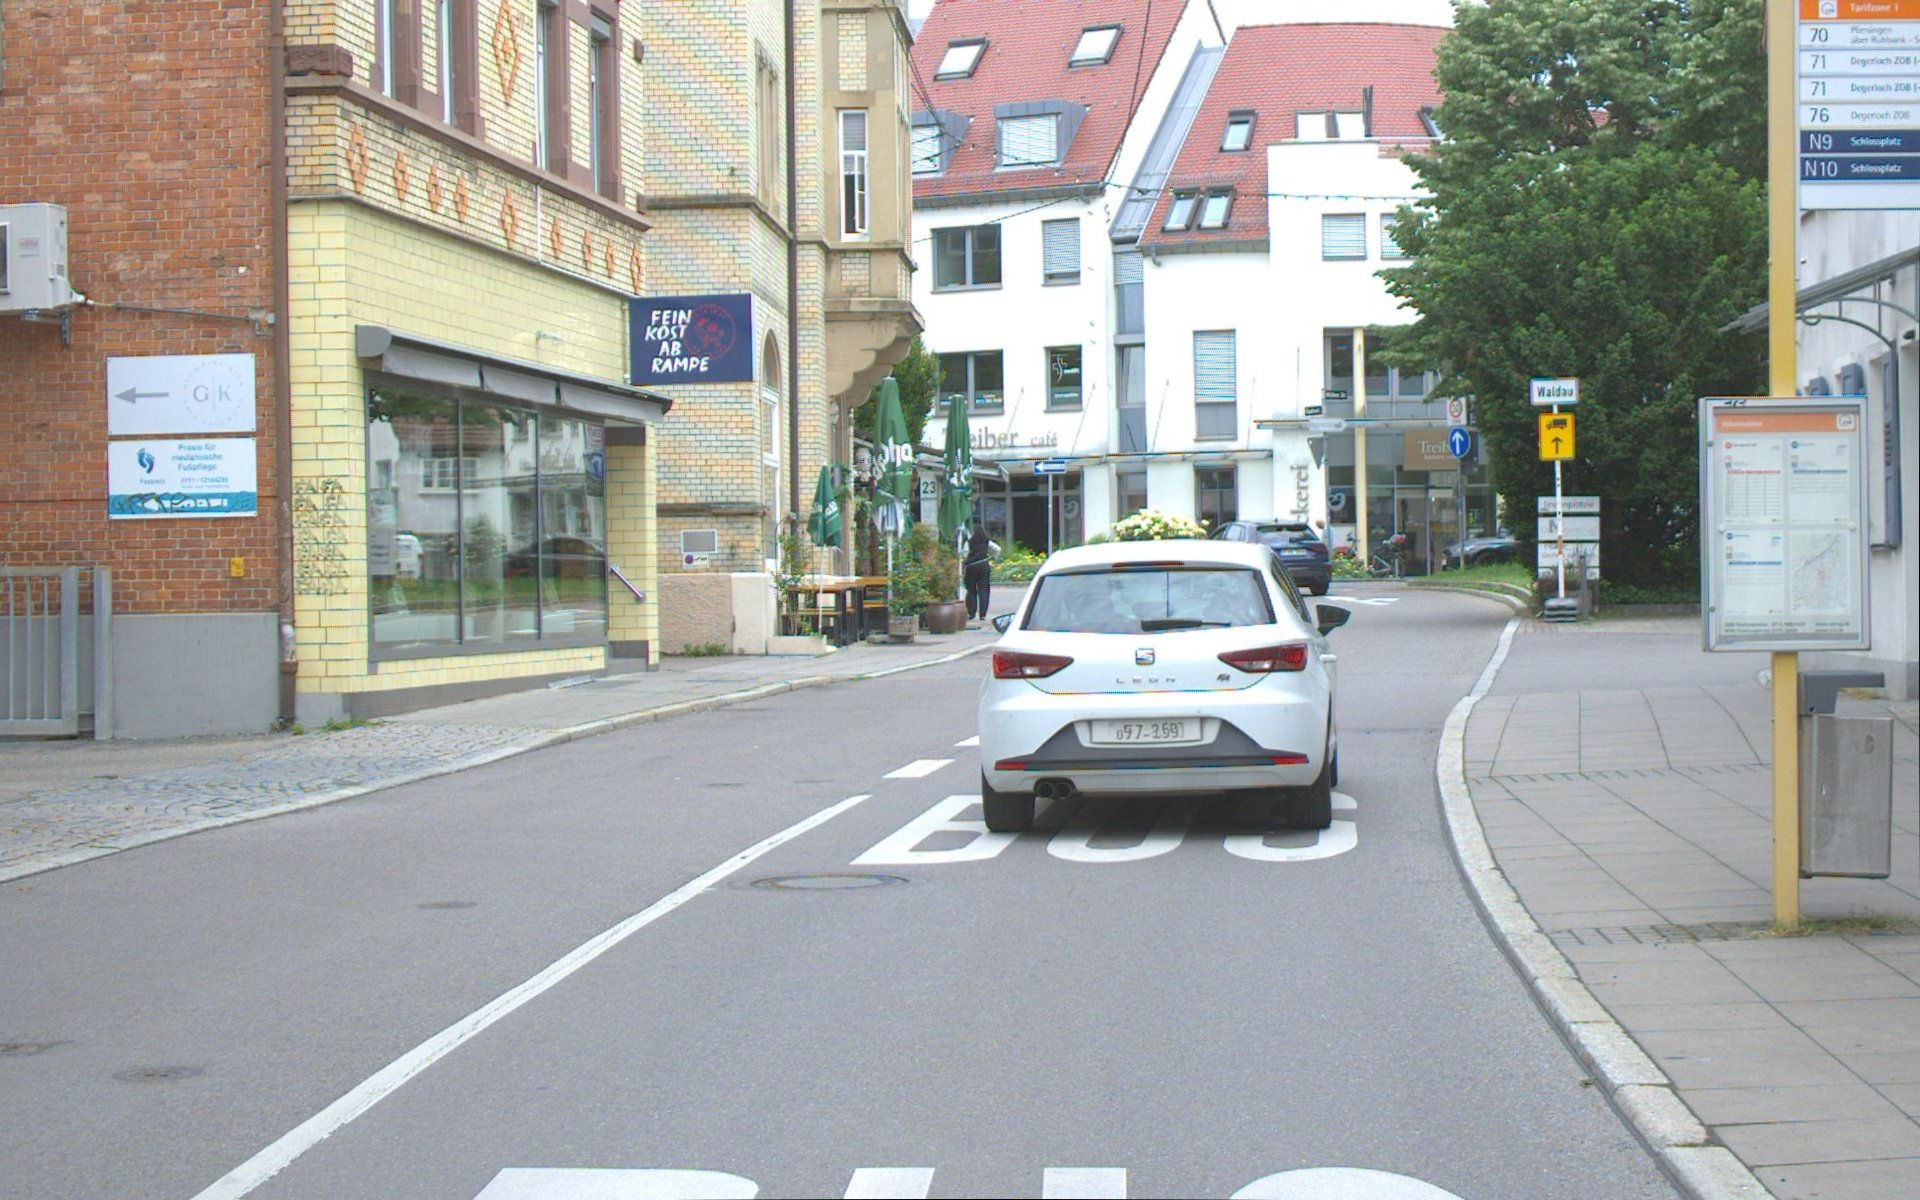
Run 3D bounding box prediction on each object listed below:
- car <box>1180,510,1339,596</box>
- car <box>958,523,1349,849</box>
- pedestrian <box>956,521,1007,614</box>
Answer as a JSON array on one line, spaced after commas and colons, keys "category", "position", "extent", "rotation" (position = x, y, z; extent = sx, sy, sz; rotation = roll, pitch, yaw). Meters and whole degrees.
[{"category": "car", "position": [5.487, -0.890, 63.430], "extent": [1.811, 1.475, 3.872], "rotation": [-1, 2, -13]}, {"category": "car", "position": [1.128, 0.372, 18.181], "extent": [1.812, 1.475, 3.870], "rotation": [-1, 2, 7]}, {"category": "pedestrian", "position": [0.367, -0.546, 57.583], "extent": [0.834, 1.546, 0.627], "rotation": [-1, 1, 1]}]
